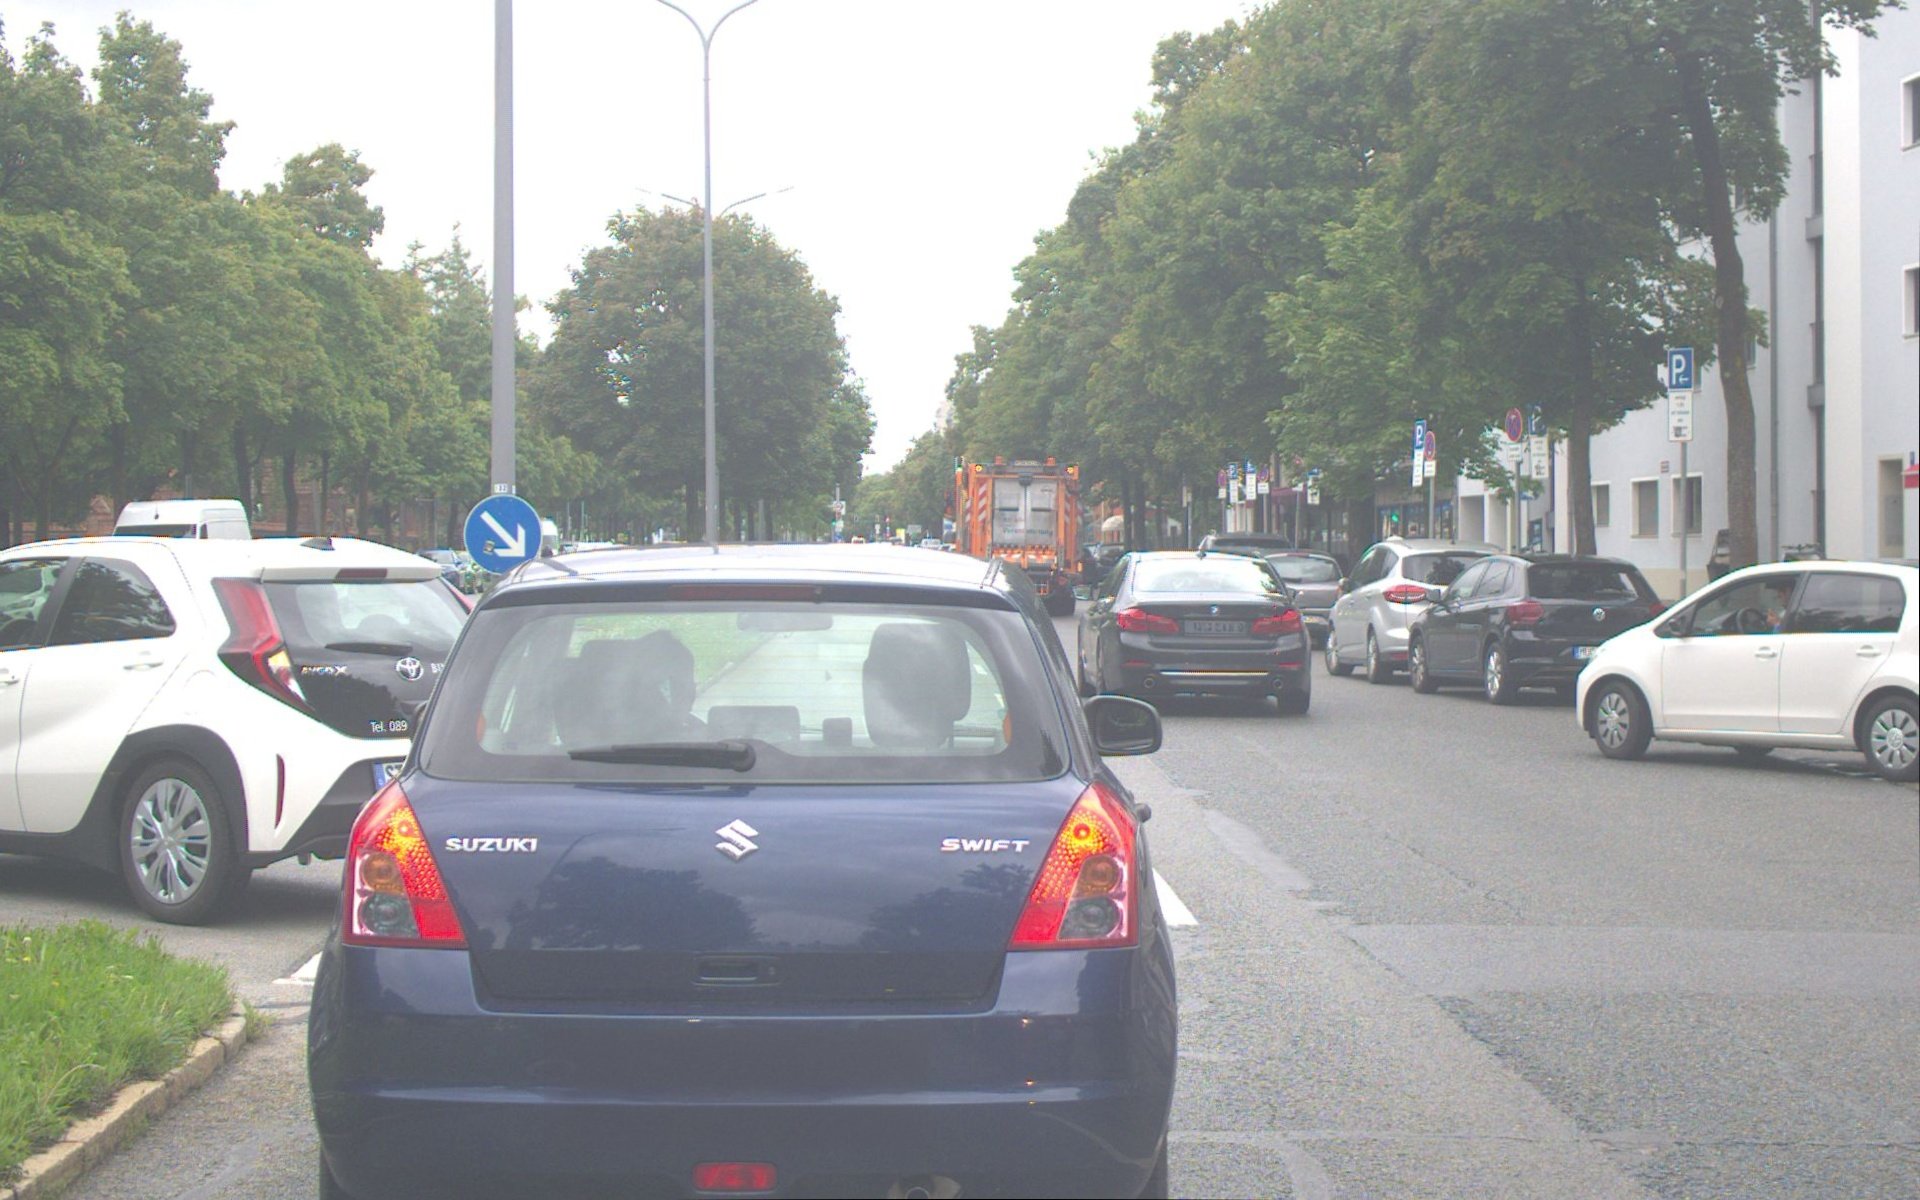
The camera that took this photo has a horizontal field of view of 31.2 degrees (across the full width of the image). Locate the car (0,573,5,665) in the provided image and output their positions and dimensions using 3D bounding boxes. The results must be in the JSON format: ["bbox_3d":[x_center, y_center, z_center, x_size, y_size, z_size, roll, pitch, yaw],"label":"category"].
[{"bbox_3d":[-15.814,0.356,52.190,1.821,1.442,4.001,-2,1,-5],"label":"car"}]

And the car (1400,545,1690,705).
[{"bbox_3d":[5.685,0.198,33.859,1.829,1.468,3.889,0,1,-6],"label":"car"}]

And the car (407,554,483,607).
[{"bbox_3d":[-16.199,-0.626,108.293,1.886,1.532,4.315,-3,1,-3],"label":"car"}]

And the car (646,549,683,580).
[{"bbox_3d":[-15.655,-1.882,182.241,1.761,1.532,4.315,-3,1,-4],"label":"car"}]

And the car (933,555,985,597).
[{"bbox_3d":[-0.056,-0.896,125.803,1.829,1.517,3.771,0,1,-1],"label":"car"}]

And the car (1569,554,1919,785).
[{"bbox_3d":[6.111,0.433,23.976,1.687,1.485,3.434,-1,1,-38],"label":"car"}]

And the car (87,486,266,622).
[{"bbox_3d":[-16.195,-0.990,71.494,2.139,2.634,7.106,-1,1,-1],"label":"car"}]

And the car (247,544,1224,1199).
[{"bbox_3d":[-0.417,0.624,8.179,1.753,1.499,4.000,0,1,0],"label":"car"}]

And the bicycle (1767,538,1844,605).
[{"bbox_3d":[13.886,-0.484,56.516,0.621,1.043,2.195,-4,1,-1],"label":"bicycle"}]

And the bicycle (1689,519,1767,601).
[{"bbox_3d":[13.583,-0.712,60.861,0.702,1.402,2.593,-2,1,-1],"label":"bicycle"}]

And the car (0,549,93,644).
[{"bbox_3d":[-15.914,-0.037,57.576,1.821,1.522,4.299,-2,0,-2],"label":"car"}]

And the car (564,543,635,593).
[{"bbox_3d":[-11.069,-1.001,105.719,1.815,1.443,4.783,-1,1,-2],"label":"car"}]

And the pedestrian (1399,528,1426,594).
[{"bbox_3d":[11.183,-0.970,84.950,0.549,1.624,0.641,-2,1,-1],"label":"pedestrian"}]

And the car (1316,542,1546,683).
[{"bbox_3d":[5.318,0.101,39.385,1.829,1.517,4.524,0,1,-2],"label":"car"}]

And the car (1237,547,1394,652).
[{"bbox_3d":[5.330,-0.037,51.961,1.829,1.517,3.771,0,1,-2],"label":"car"}]

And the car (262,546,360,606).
[{"bbox_3d":[-16.433,-0.595,87.167,1.857,1.485,4.142,0,0,-2],"label":"car"}]

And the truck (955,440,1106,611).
[{"bbox_3d":[1.456,-1.680,78.218,3.041,3.545,13.675,0,1,0],"label":"truck"}]

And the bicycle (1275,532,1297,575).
[{"bbox_3d":[11.170,-1.606,117.897,0.580,1.458,1.688,0,1,-1],"label":"bicycle"}]

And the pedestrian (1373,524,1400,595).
[{"bbox_3d":[10.532,-0.996,84.879,0.499,1.727,0.733,-2,1,-1],"label":"pedestrian"}]

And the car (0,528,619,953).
[{"bbox_3d":[-3.398,0.476,14.414,3.717,1.548,1.823,1,1,39],"label":"car"}]

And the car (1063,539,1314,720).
[{"bbox_3d":[2.005,0.205,31.447,1.821,1.472,4.691,2,1,-1],"label":"car"}]

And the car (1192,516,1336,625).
[{"bbox_3d":[5.039,-0.517,57.456,1.829,1.740,4.509,0,1,-2],"label":"car"}]
